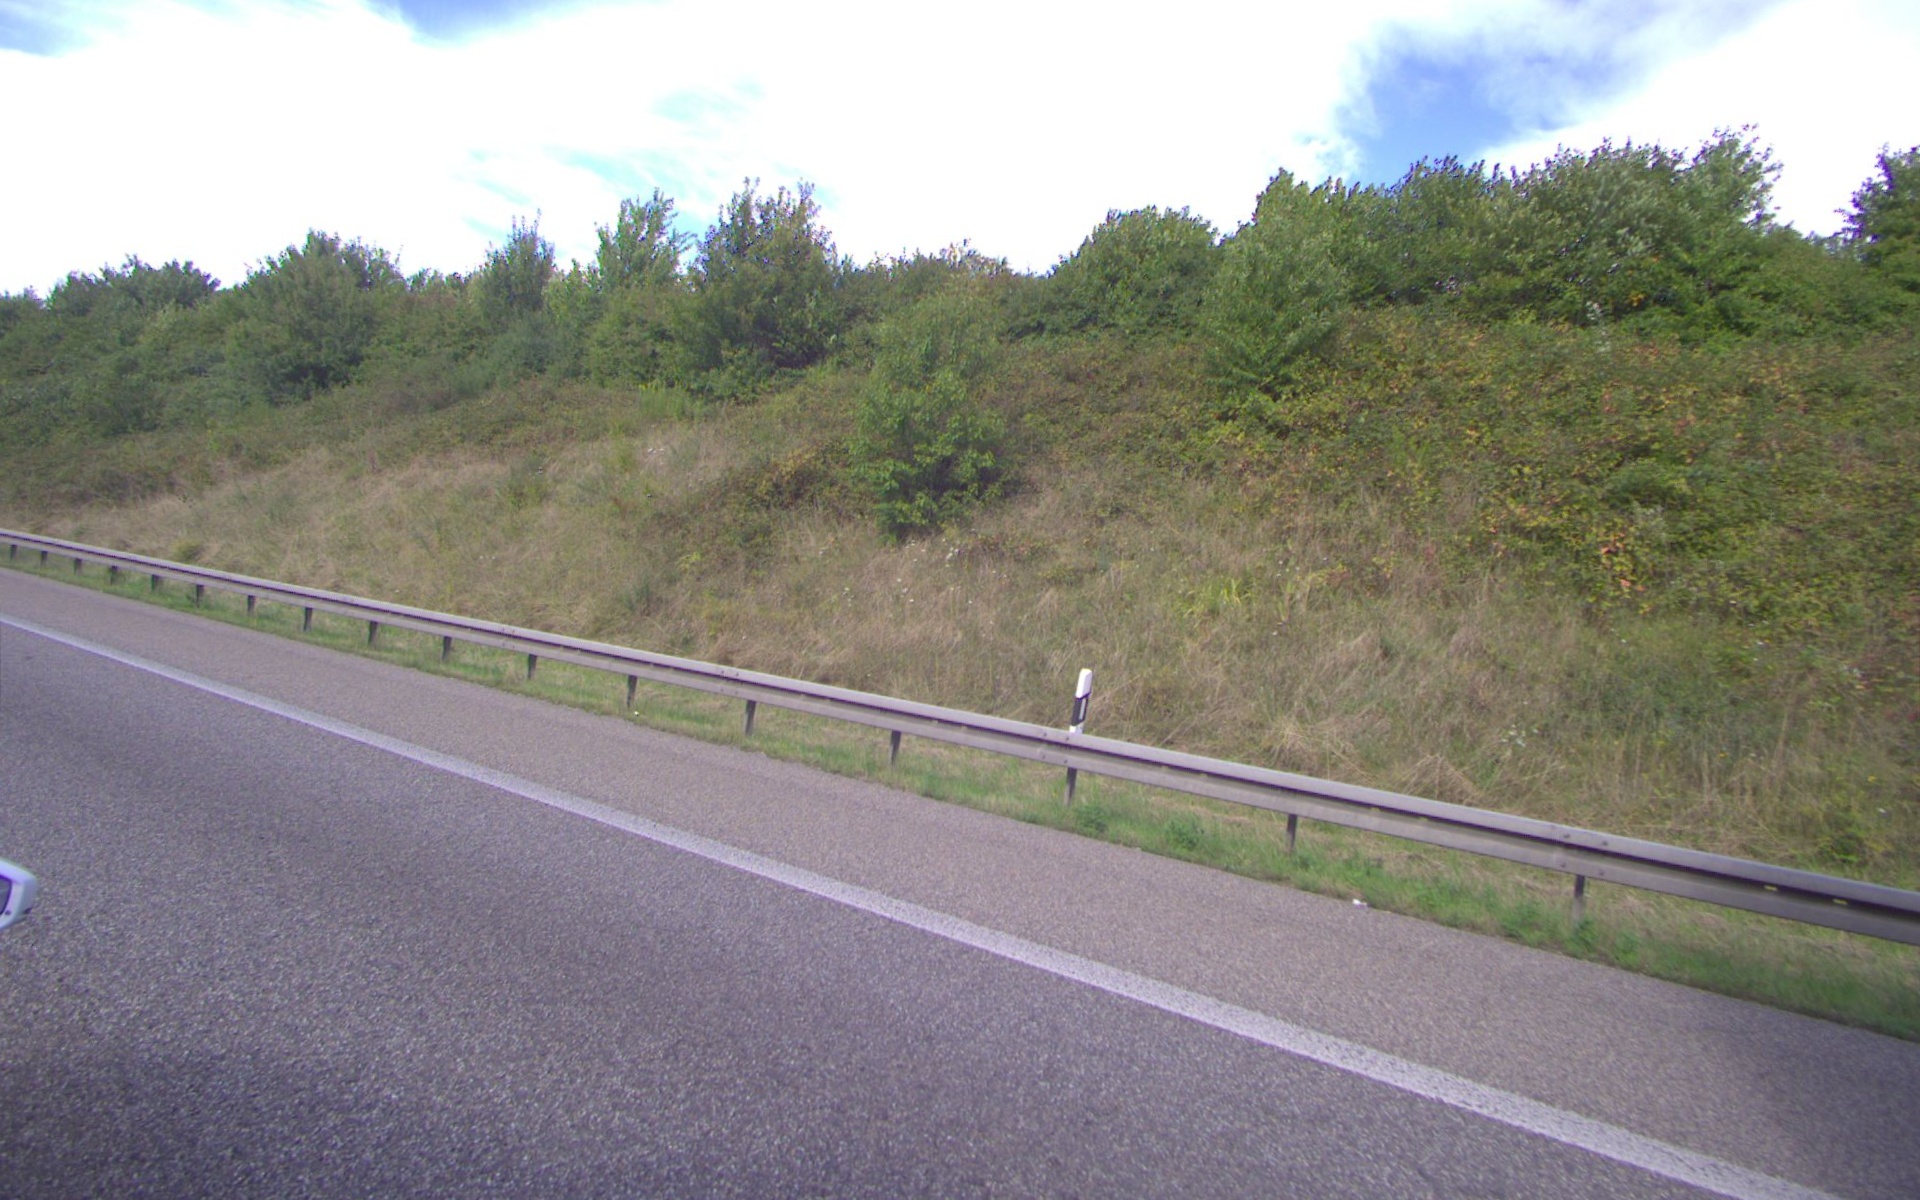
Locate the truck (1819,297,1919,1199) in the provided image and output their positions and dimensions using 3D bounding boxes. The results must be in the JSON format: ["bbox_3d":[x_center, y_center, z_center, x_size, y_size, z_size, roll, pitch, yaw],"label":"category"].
[{"bbox_3d":[5.190,0.090,1.052,5.808,4.091,2.806,7,-1,33],"label":"truck"}]
